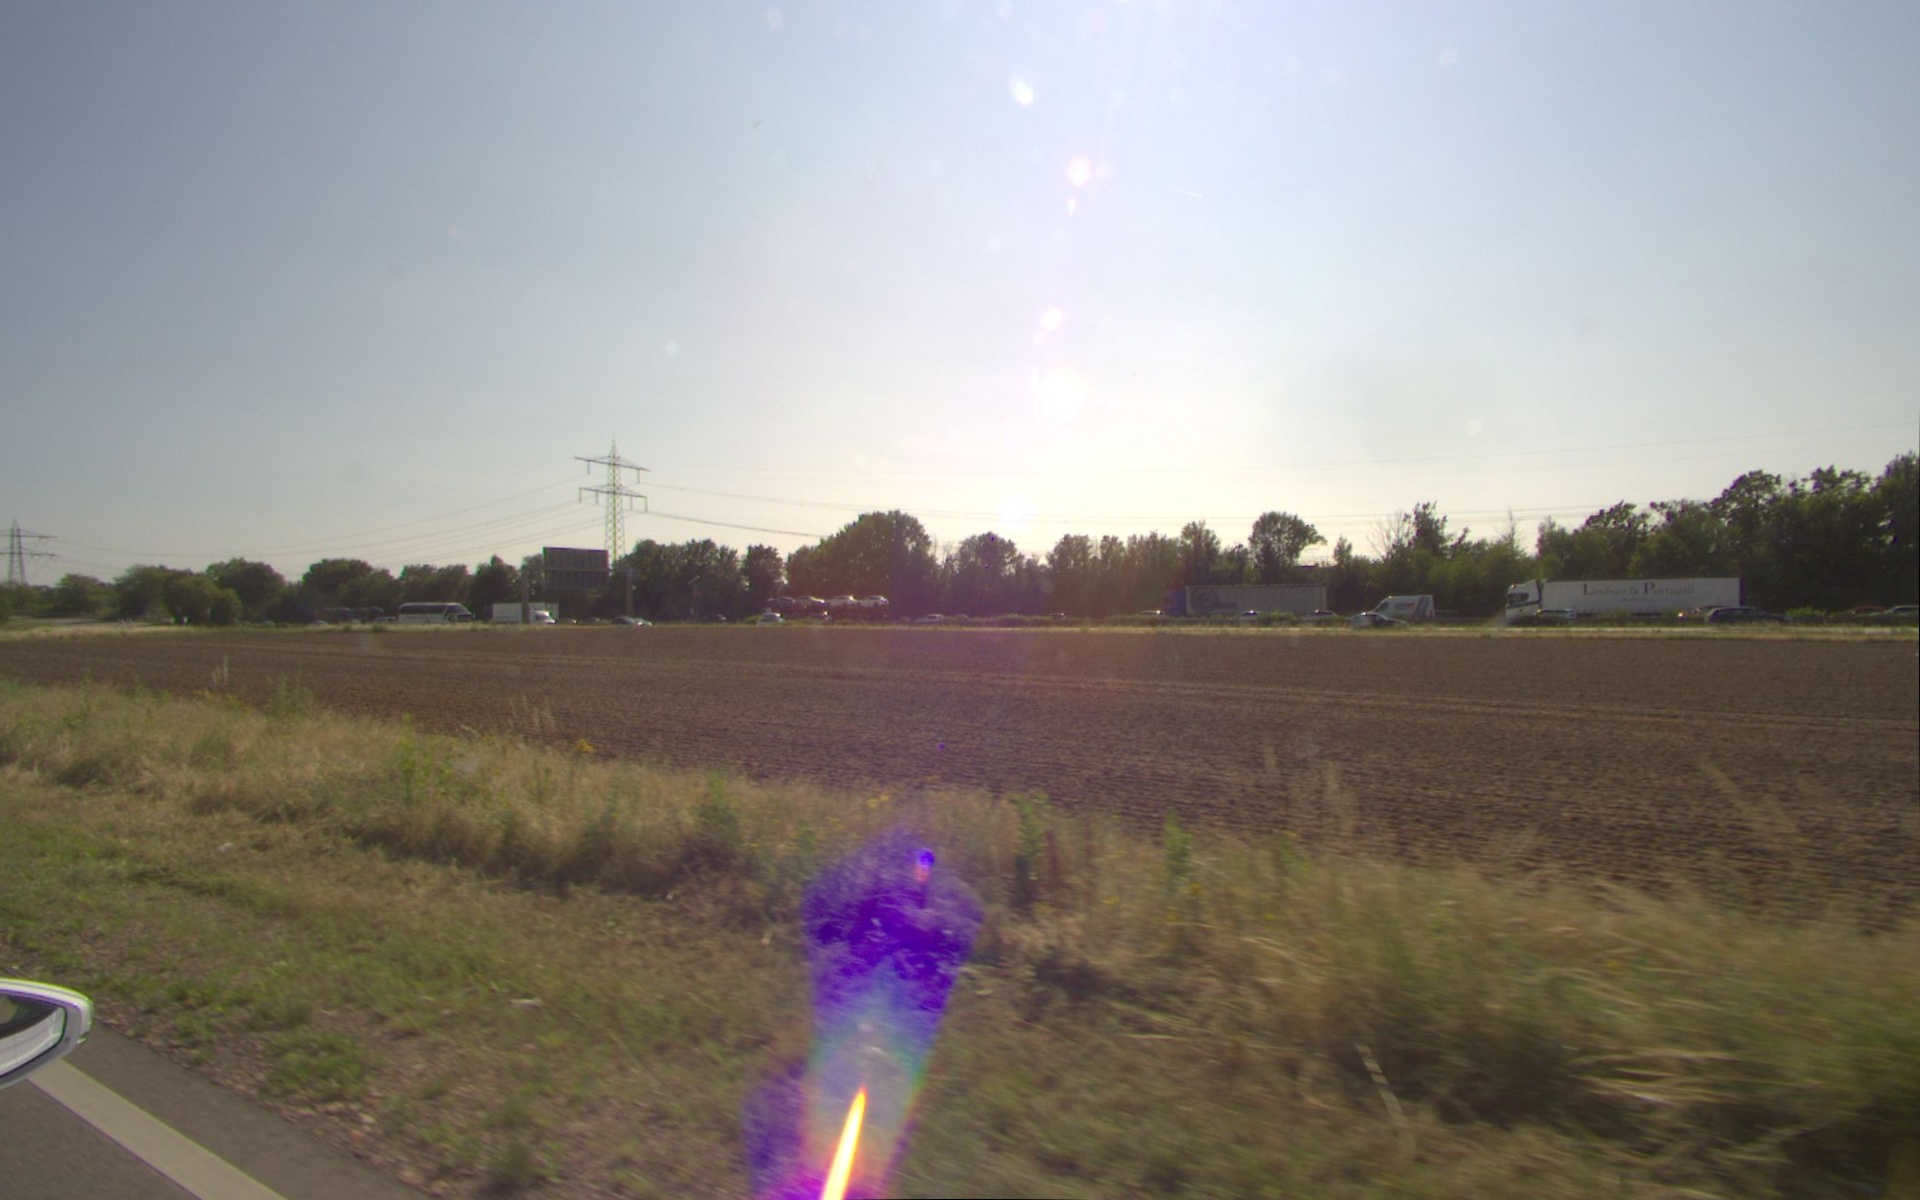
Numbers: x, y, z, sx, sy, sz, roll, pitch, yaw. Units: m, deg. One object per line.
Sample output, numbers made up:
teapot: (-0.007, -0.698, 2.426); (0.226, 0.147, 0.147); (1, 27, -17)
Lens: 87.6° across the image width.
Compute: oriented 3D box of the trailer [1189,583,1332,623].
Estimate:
trailer: (29.755, 0.408, 99.748); (13.440, 3.782, 3.065); (-1, -1, 34)

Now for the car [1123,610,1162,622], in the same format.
car: (18.031, 1.557, 99.045); (3.531, 1.166, 1.392); (0, -1, 33)

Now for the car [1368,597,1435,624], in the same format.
car: (38.468, 0.911, 87.233); (5.162, 2.228, 1.902); (0, -1, 32)

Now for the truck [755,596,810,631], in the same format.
truck: (-23.659, 1.803, 133.615); (6.606, 4.512, 3.416); (-1, 0, 30)

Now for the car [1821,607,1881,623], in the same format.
car: (68.058, 1.162, 76.529); (3.244, 1.234, 1.339); (-1, -2, 31)

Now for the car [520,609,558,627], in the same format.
car: (-57.502, 2.444, 136.805); (5.442, 2.402, 1.991); (-1, -2, 32)

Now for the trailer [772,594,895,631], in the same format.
trailer: (-16.561, 1.681, 129.457); (17.303, 4.511, 3.416); (-1, 0, 30)

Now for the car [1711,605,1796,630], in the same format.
car: (54.094, 1.188, 68.382); (4.412, 1.632, 1.902); (-1, -2, 34)

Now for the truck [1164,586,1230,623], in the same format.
truck: (24.443, 0.504, 103.249); (6.002, 3.782, 3.065); (-1, -1, 34)

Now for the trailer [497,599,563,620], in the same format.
trailer: (-69.925, 1.557, 162.729); (12.274, 3.310, 3.278); (-1, 0, 31)

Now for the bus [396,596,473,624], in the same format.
bus: (-75.347, 1.470, 143.490); (14.327, 3.854, 2.460); (0, 0, 30)

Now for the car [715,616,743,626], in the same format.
car: (-29.839, 2.697, 129.454); (3.528, 1.166, 1.393); (0, -1, 30)

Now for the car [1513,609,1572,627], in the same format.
car: (47.926, 1.451, 82.432); (4.186, 1.403, 1.848); (0, -1, 32)

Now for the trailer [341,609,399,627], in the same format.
trailer: (-109.226, 3.269, 185.331); (13.255, 3.310, 3.279); (0, 0, 31)

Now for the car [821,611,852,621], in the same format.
car: (-14.824, 1.945, 120.157); (3.528, 1.166, 1.393); (0, -1, 30)

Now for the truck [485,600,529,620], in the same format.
truck: (-74.972, 1.643, 165.749); (6.877, 3.310, 3.279); (-1, 0, 31)

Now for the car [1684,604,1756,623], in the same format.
car: (57.806, 1.035, 76.285); (4.186, 1.403, 1.848); (0, -1, 32)

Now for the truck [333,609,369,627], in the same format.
truck: (-114.763, 3.288, 188.698); (6.334, 3.310, 3.279); (0, 0, 31)

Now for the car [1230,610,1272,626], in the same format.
car: (27.383, 1.709, 94.265); (3.551, 1.403, 1.489); (0, -1, 32)

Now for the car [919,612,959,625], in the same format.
car: (-2.330, 2.109, 112.488); (4.186, 1.403, 1.848); (0, -1, 32)

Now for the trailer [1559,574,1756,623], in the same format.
trailer: (57.239, -0.010, 82.772); (13.178, 3.782, 3.065); (-1, -1, 33)

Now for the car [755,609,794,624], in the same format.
car: (-20.329, 1.831, 109.477); (4.137, 1.562, 1.700); (-1, -2, 32)

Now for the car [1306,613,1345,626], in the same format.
car: (33.030, 1.766, 90.579); (3.135, 1.166, 1.392); (0, -1, 32)

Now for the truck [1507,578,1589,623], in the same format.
truck: (51.005, 0.082, 86.856); (6.031, 3.782, 3.065); (-1, -1, 33)
